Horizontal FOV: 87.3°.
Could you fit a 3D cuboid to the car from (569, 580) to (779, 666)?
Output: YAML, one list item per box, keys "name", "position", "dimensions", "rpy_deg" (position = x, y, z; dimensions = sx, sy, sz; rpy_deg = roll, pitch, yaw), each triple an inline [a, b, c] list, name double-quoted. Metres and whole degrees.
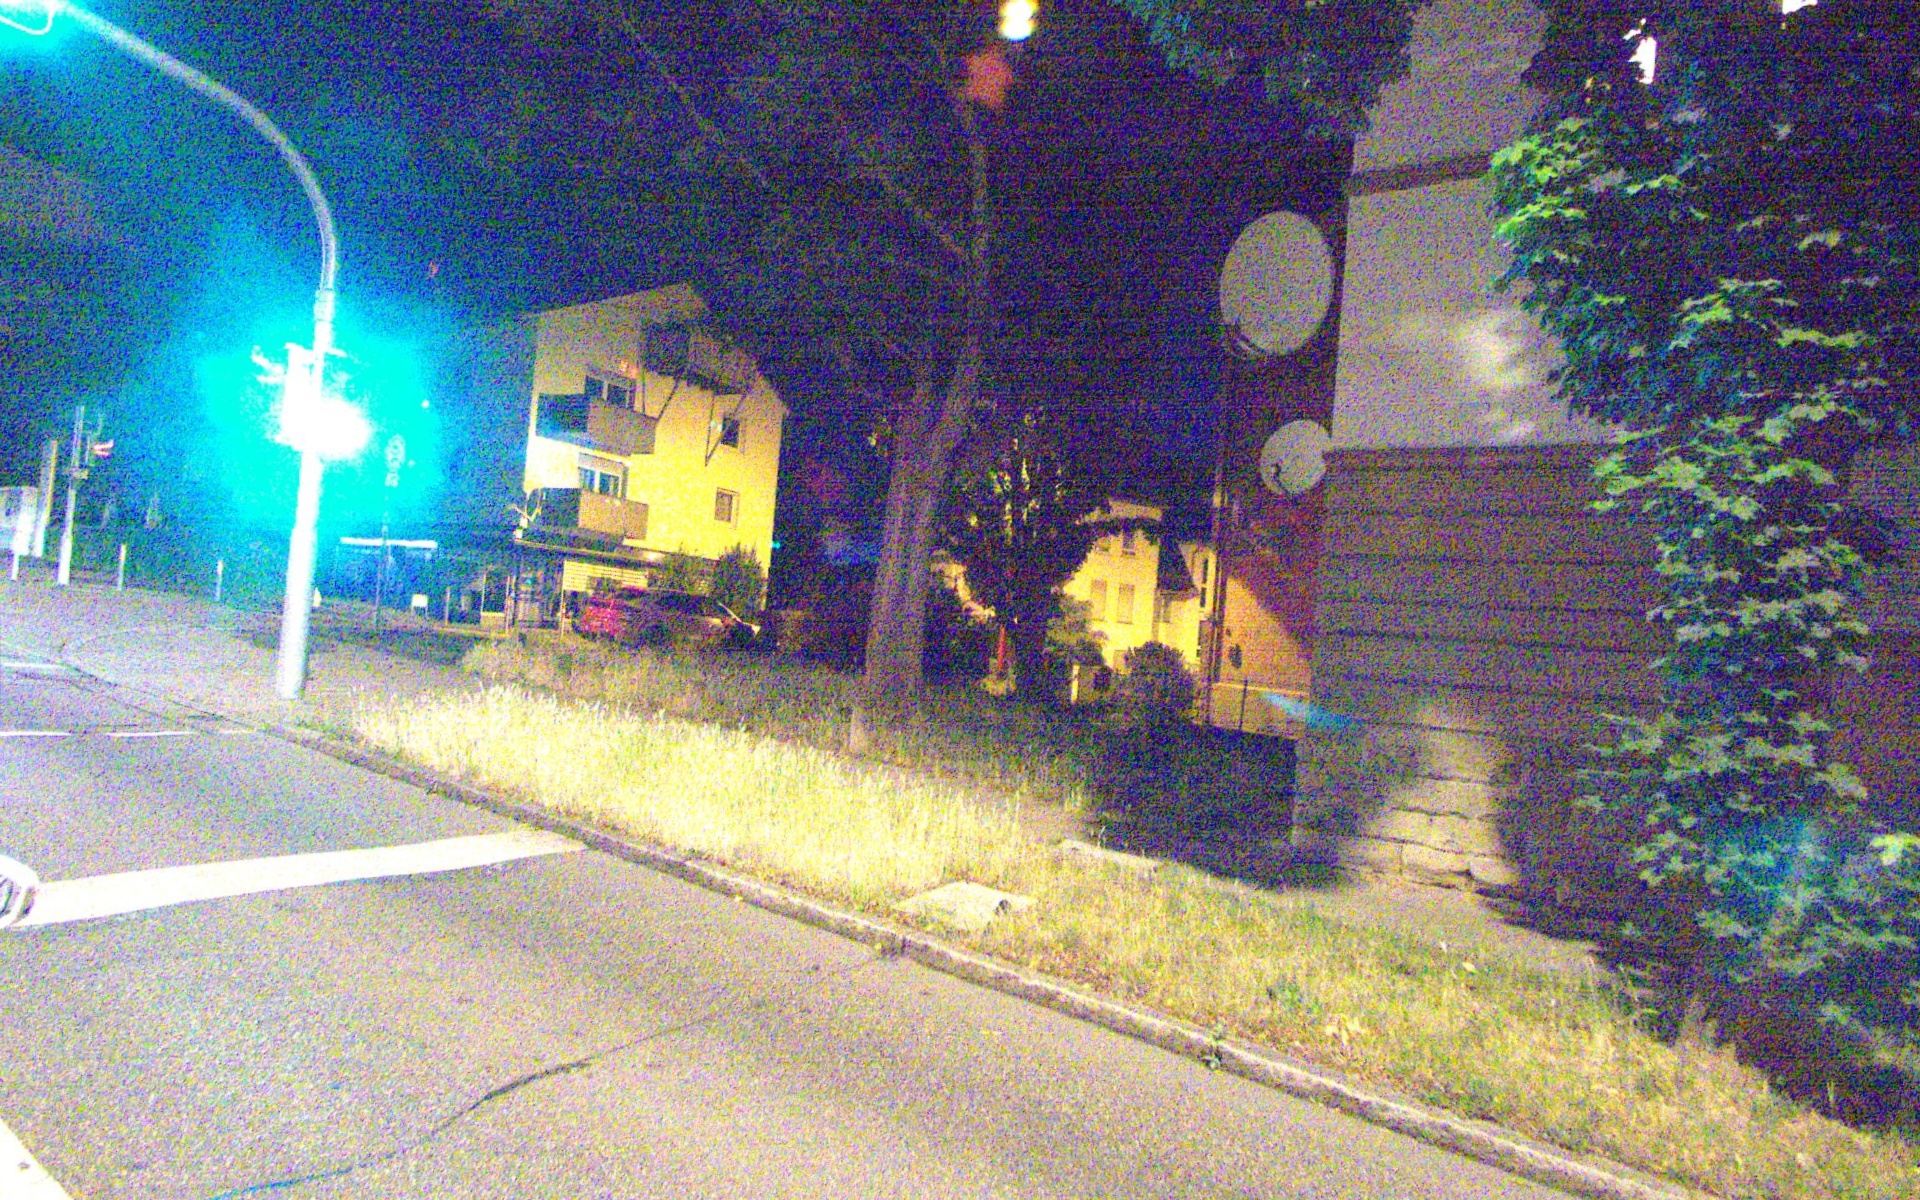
- name: "car"
  position: [-6.503, 0.585, 23.292]
  dimensions: [1.778, 1.577, 4.366]
  rpy_deg: [3, -3, 38]
